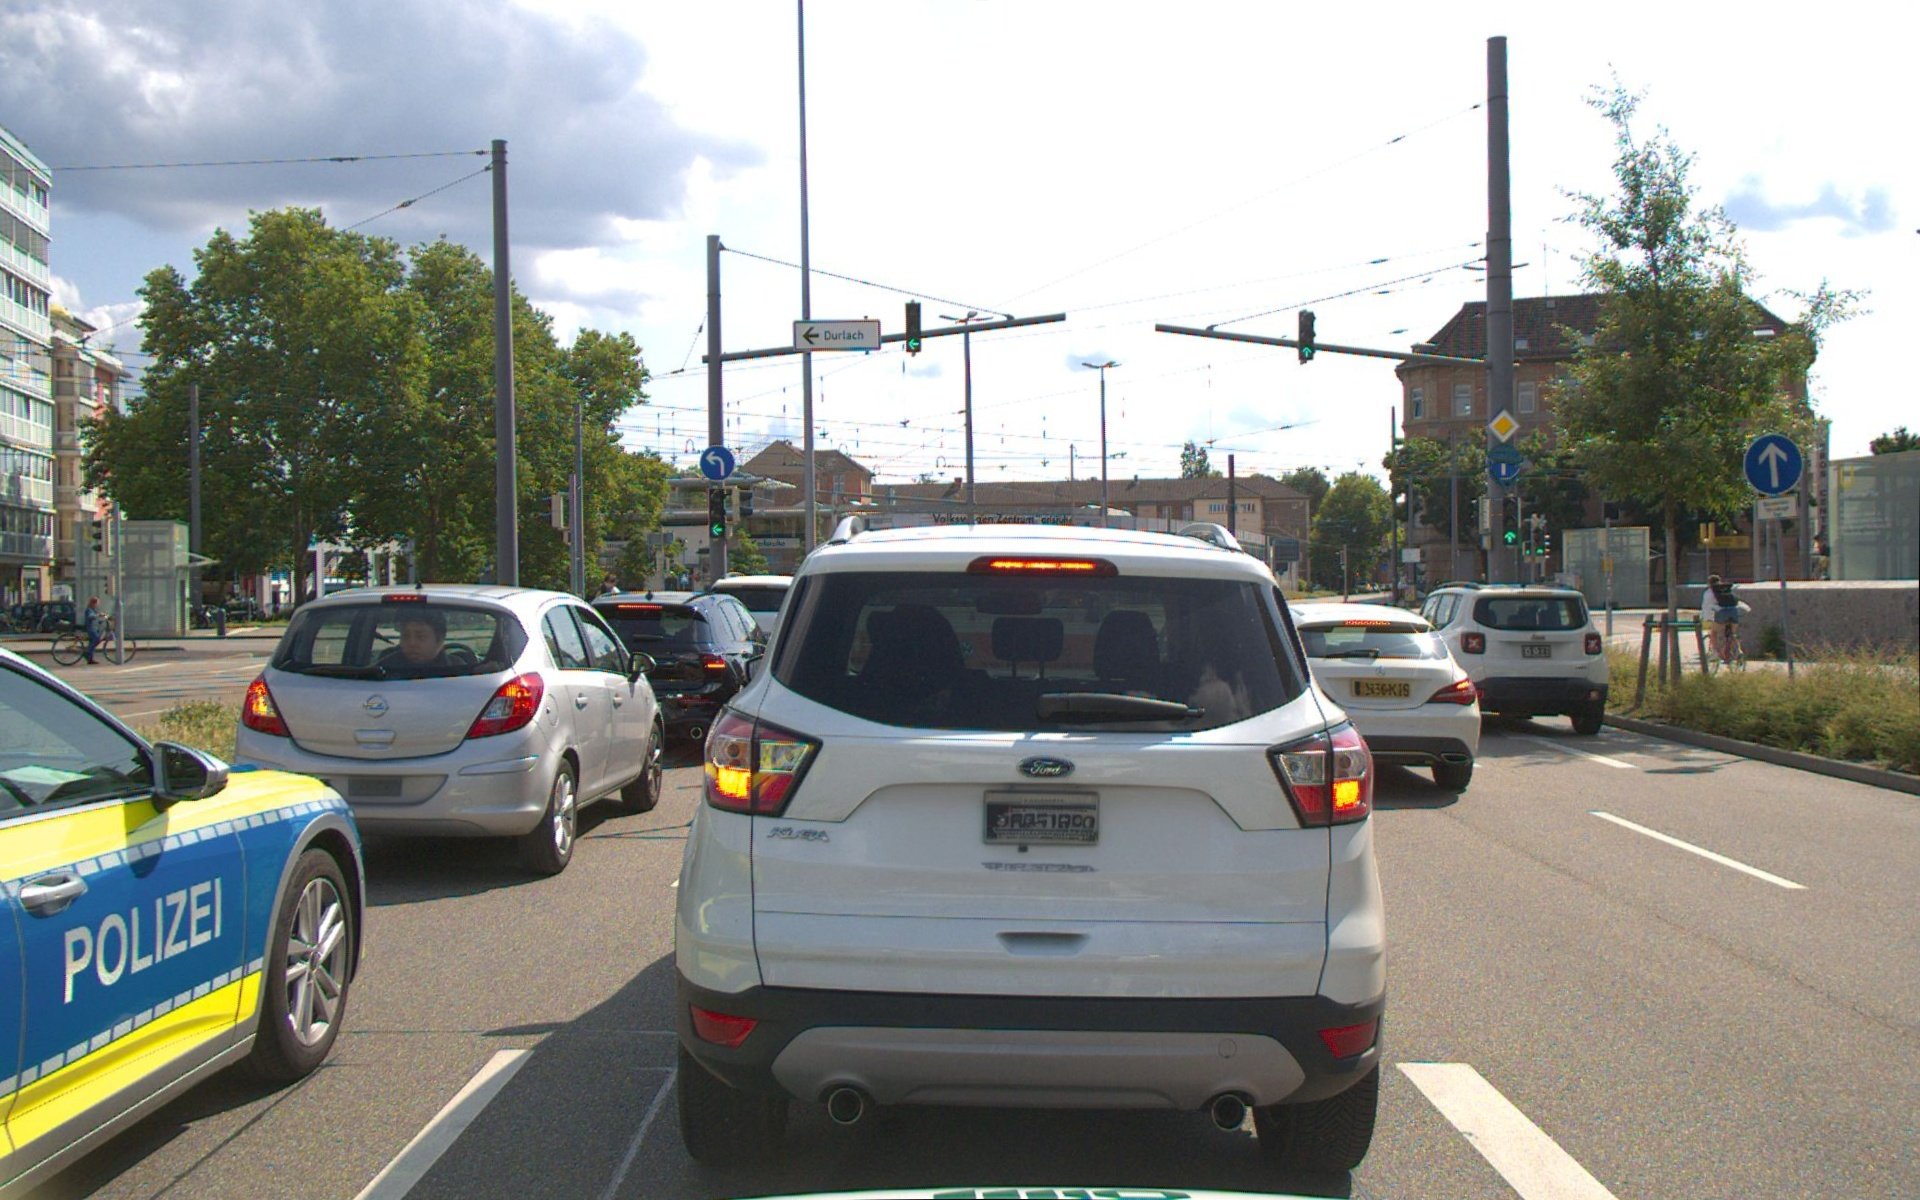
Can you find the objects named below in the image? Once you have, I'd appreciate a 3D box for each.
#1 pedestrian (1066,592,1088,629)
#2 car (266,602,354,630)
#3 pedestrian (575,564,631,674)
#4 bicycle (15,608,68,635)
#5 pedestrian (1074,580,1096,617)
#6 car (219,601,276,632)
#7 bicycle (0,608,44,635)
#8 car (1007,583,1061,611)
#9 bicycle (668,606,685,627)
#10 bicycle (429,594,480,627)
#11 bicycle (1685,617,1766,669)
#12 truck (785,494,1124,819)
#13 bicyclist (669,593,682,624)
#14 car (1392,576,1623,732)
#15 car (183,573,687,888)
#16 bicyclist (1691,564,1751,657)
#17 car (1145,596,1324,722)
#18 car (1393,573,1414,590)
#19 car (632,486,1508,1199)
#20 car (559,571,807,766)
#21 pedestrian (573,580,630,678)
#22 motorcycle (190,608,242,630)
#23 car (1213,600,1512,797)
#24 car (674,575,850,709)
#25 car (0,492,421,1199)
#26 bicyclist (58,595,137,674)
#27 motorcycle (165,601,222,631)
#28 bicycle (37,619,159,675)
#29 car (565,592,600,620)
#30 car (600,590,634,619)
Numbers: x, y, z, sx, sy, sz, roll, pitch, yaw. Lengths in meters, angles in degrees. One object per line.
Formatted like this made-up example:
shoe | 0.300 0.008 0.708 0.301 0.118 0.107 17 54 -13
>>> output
pedestrian | 5.665 0.502 79.956 0.916 1.774 0.581 1 -1 -37
car | -33.807 0.846 86.060 3.907 1.350 1.632 -2 -1 -3
pedestrian | -6.431 0.338 29.802 0.830 1.950 0.692 -1 -1 -1
bicycle | -40.699 0.957 73.297 1.914 1.167 0.792 -1 0 -19
pedestrian | 5.991 -0.061 79.252 0.916 1.774 0.582 1 -1 -36
car | -35.670 0.844 82.890 1.872 1.438 3.987 -1 -1 -12
bicycle | -40.945 0.933 71.989 1.776 1.167 0.792 -1 0 -19
car | 4.232 -0.196 93.748 1.860 1.487 3.969 -2 0 21
bicycle | -16.380 0.956 95.471 0.629 1.145 1.772 0 1 -22
bicycle | -22.782 0.468 74.573 2.133 1.439 0.809 0 1 -16
bicycle | 12.275 0.678 26.568 0.572 0.789 1.621 -1 0 1
truck | -0.012 0.367 14.139 2.291 2.193 5.852 0 0 0
bicyclist | -16.432 0.480 95.571 0.629 1.768 0.657 0 1 -22
car | 6.458 0.594 19.960 1.797 1.681 4.002 0 0 5
car | -2.872 0.624 10.012 1.810 1.500 3.999 -1 0 -1
bicyclist | 12.261 0.162 26.668 0.595 1.476 0.774 -1 0 0
car | 3.360 0.678 20.854 1.811 1.443 3.680 0 0 3
car | 45.594 -1.887 169.852 1.798 1.681 4.001 0 0 19
car | 0.314 0.616 5.379 1.789 1.693 3.957 0 0 3
car | -2.505 0.553 15.986 1.727 1.595 4.525 -1 0 -2
pedestrian | -6.264 0.506 28.954 0.830 1.676 0.692 -1 -1 -1
motorcycle | -34.308 0.875 76.310 0.795 0.933 2.037 0 1 36
car | 3.252 0.726 14.051 1.811 1.443 3.680 0 0 3
car | -2.516 0.495 22.072 1.999 1.606 4.537 0 0 -3
car | -2.704 0.609 3.267 1.842 1.595 4.614 -1 0 -1
bicyclist | -19.875 0.795 38.131 1.271 1.761 0.994 -1 0 -3
motorcycle | -33.141 0.688 71.485 2.165 1.259 0.906 -1 1 17
bicycle | -19.861 1.070 38.138 2.248 1.209 0.994 -1 0 -4
car | -28.144 0.477 123.456 1.929 1.971 4.226 -2 -1 -5
car | -25.538 0.350 123.241 1.955 2.049 4.226 -2 -1 -5
